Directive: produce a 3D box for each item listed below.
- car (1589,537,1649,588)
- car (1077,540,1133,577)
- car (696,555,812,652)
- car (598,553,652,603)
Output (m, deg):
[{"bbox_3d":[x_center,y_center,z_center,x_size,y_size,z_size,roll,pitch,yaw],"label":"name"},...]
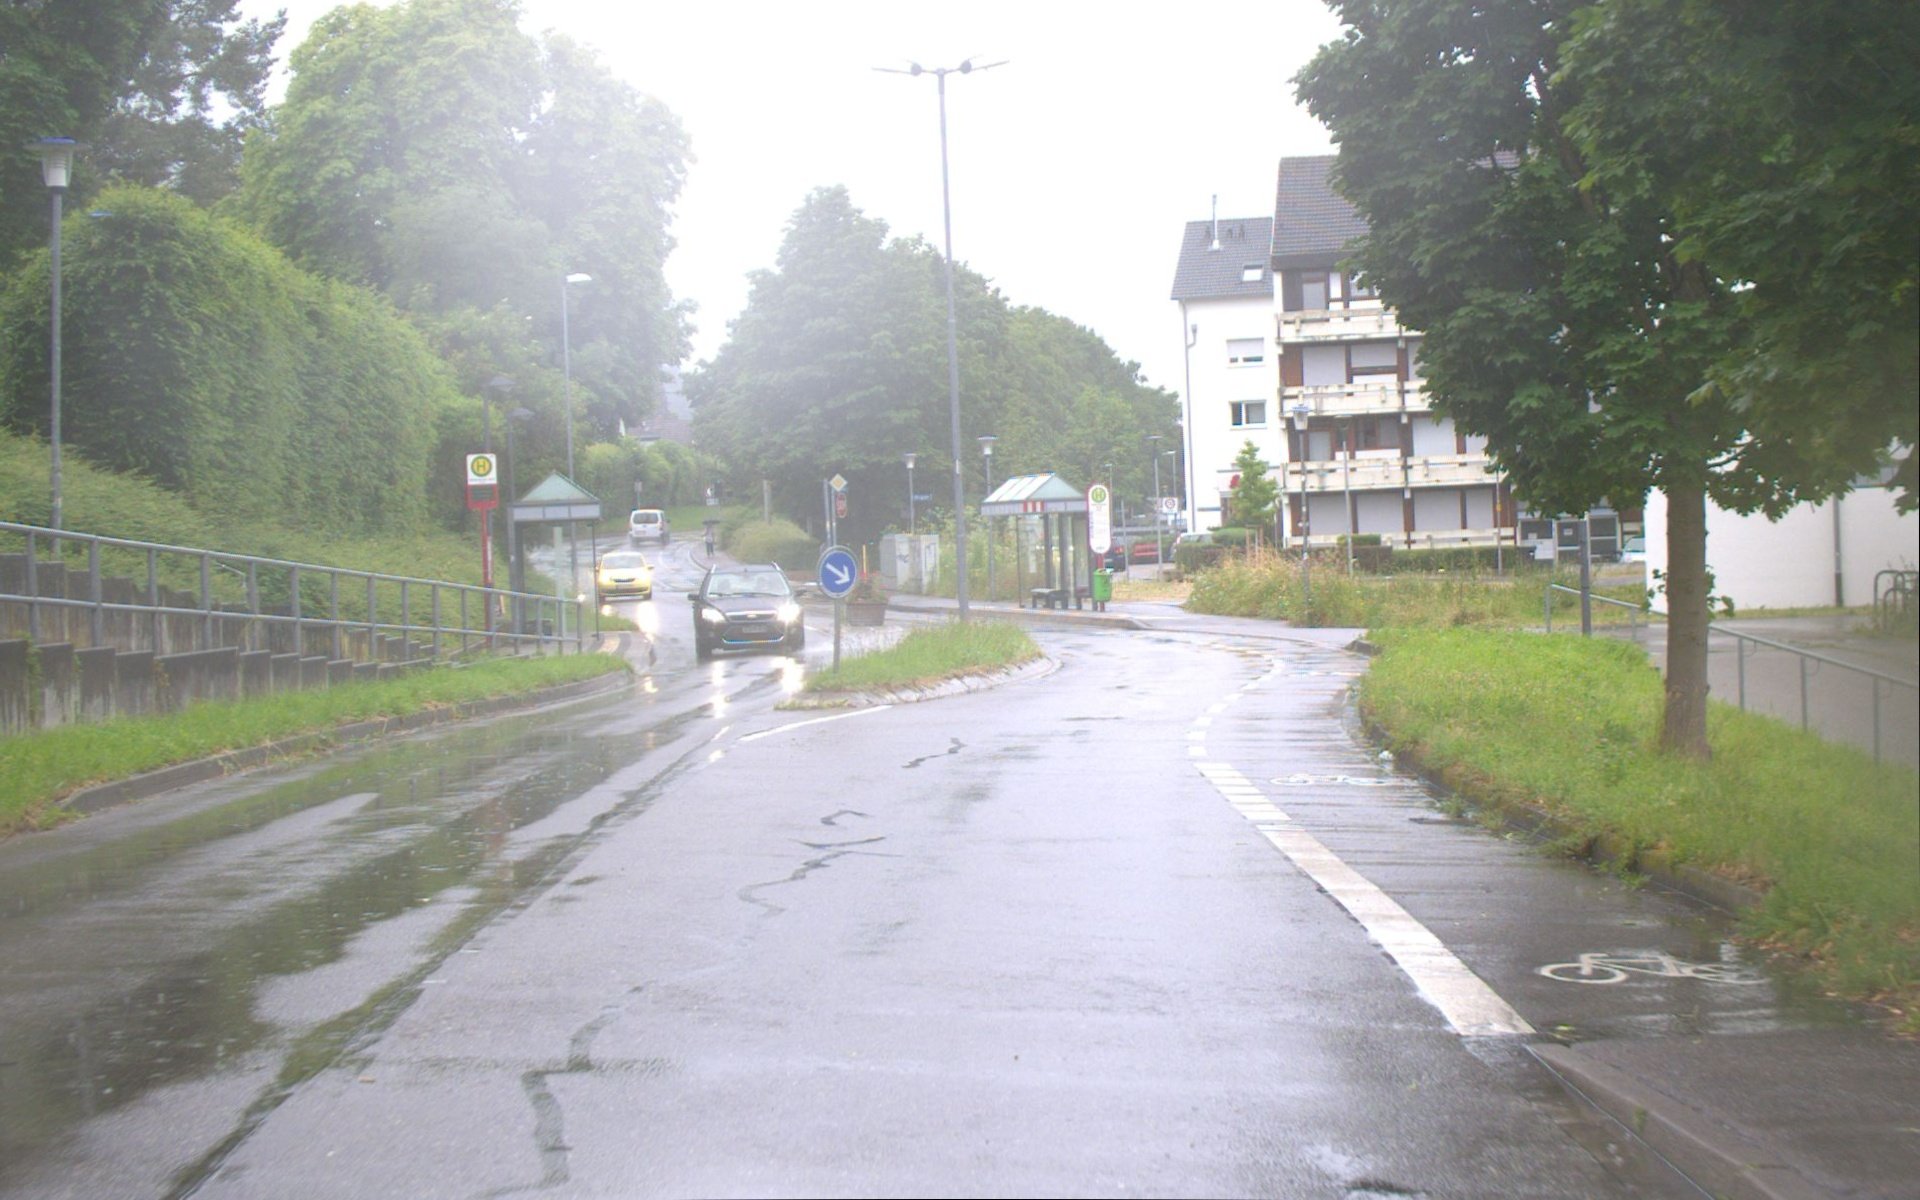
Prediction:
[{"bbox_3d":[20.314,-1.152,106.118,1.716,1.436,3.705,-1,-1,10],"label":"car"},{"bbox_3d":[6.016,-1.745,143.437,1.688,1.433,3.613,-2,2,-8],"label":"car"},{"bbox_3d":[-3.443,0.039,57.994,1.760,1.498,4.142,-3,1,-2],"label":"car"},{"bbox_3d":[-10.358,-0.687,106.285,1.572,1.405,3.475,-3,1,-6],"label":"car"}]
